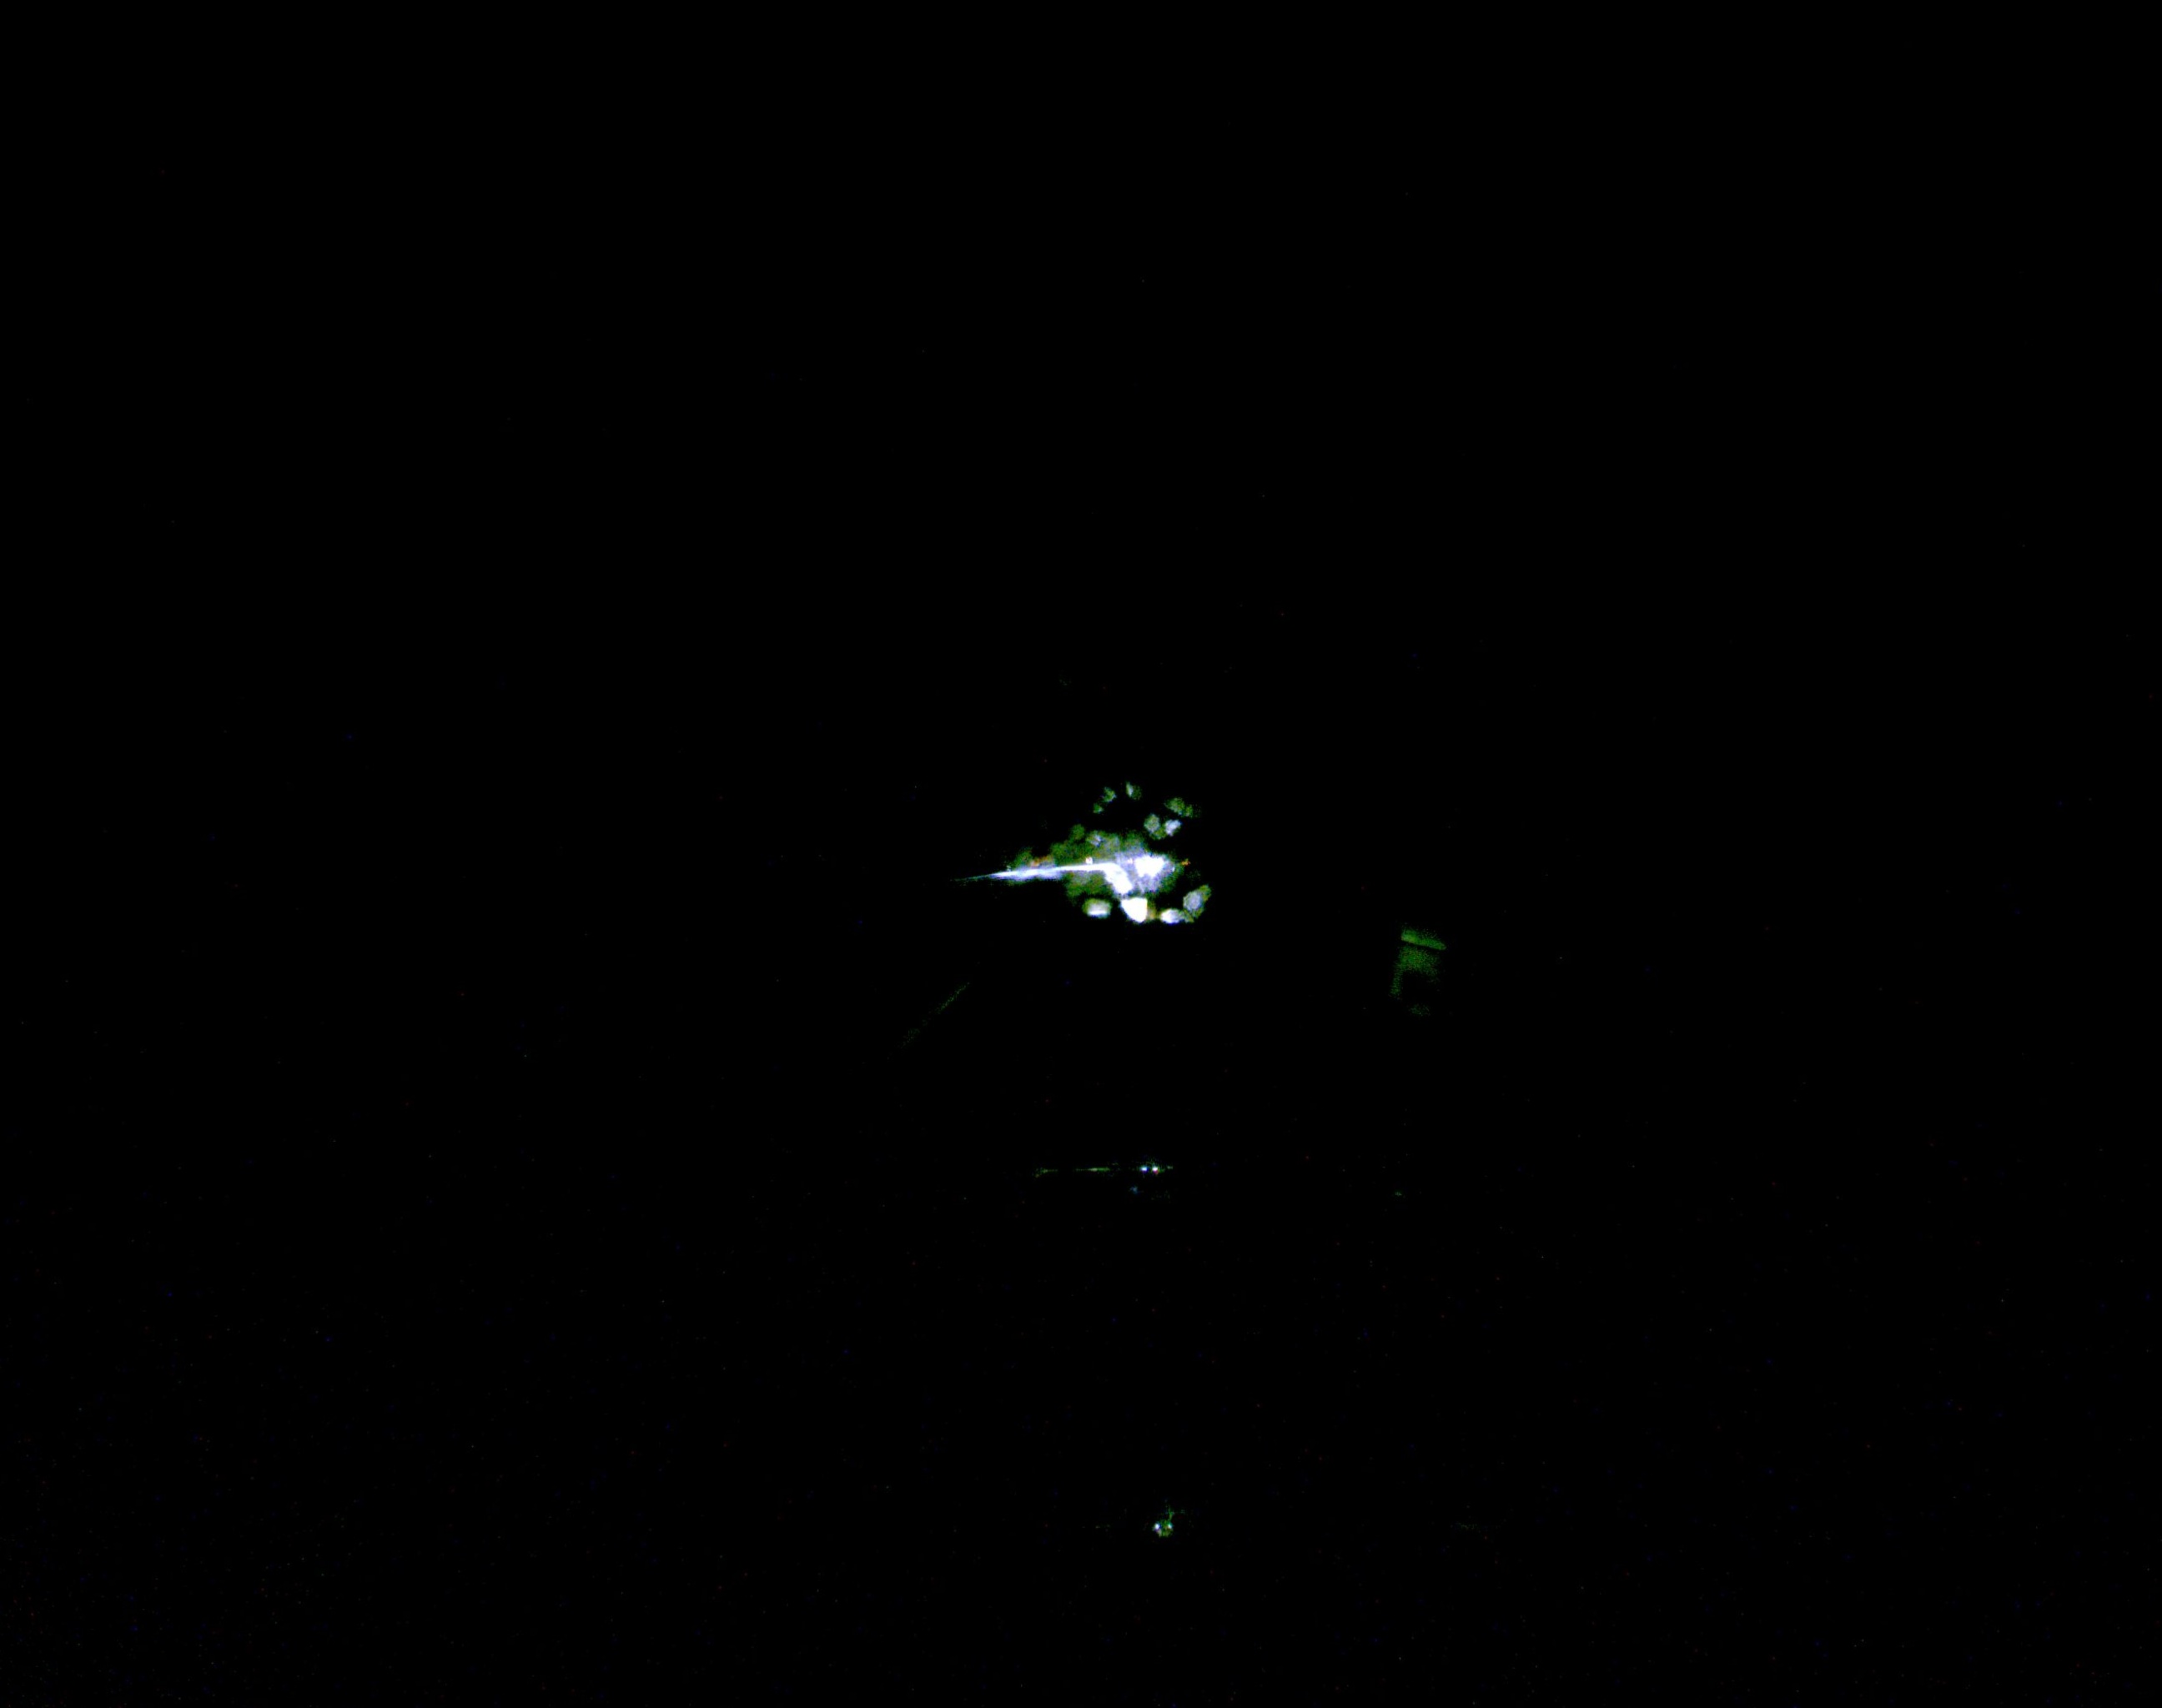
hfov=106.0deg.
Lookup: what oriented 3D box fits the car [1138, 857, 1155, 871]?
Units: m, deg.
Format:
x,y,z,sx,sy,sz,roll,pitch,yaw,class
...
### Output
x,y,z,sx,sy,sz,roll,pitch,yaw,class
8.201,1.257,101.225,1.983,1.693,4.705,-1,-2,6,car
